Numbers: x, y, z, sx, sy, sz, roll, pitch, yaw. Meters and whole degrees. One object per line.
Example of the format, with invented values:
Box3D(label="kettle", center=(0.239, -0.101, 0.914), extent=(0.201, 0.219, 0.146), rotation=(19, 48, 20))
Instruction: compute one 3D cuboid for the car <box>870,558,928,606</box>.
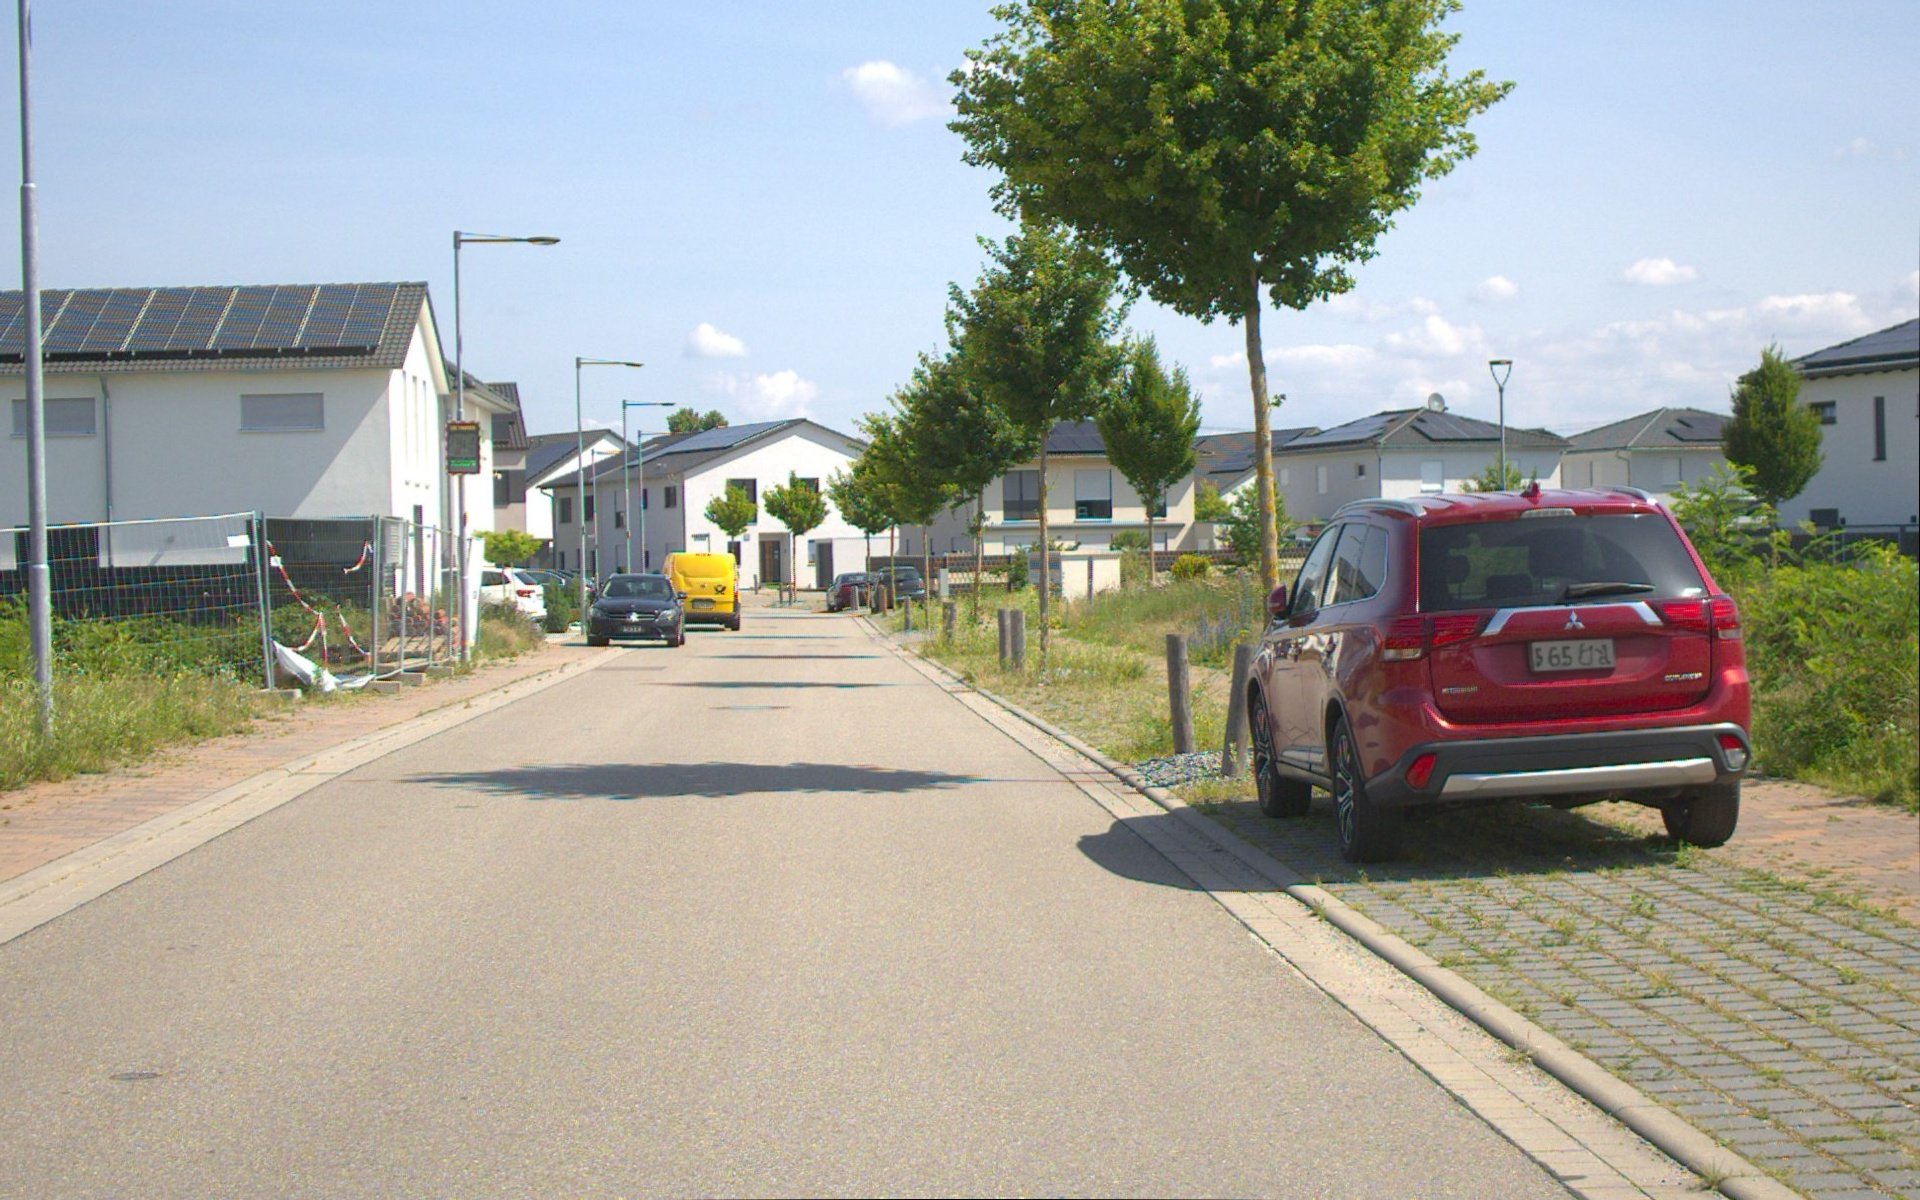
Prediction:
Box3D(label="car", center=(-1.944, -0.548, 108.961), extent=(1.639, 1.398, 3.811), rotation=(-1, -1, -4))

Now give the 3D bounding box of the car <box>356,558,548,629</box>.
Box3D(label="car", center=(-11.635, -0.156, 78.853), extent=(4.069, 1.576, 1.784), rotation=(0, 1, 3))

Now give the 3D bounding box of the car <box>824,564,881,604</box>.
Box3D(label="car", center=(-4.003, -0.579, 127.512), extent=(1.627, 1.318, 3.834), rotation=(-1, -1, -9))

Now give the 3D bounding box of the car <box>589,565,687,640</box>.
Box3D(label="car", center=(-6.393, 0.027, 68.548), extent=(1.745, 1.400, 4.160), rotation=(1, 1, -3))

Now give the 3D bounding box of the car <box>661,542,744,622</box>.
Box3D(label="car", center=(-6.676, -0.430, 88.691), extent=(1.941, 1.975, 4.218), rotation=(-1, 0, -6))

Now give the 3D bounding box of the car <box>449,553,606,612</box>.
Box3D(label="car", center=(-12.493, -0.494, 99.212), extent=(4.159, 1.499, 1.816), rotation=(3, -1, -18))

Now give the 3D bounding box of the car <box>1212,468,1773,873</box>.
Box3D(label="car", center=(2.446, 0.258, 16.928), extent=(1.776, 1.657, 4.434), rotation=(-2, 1, -3))
